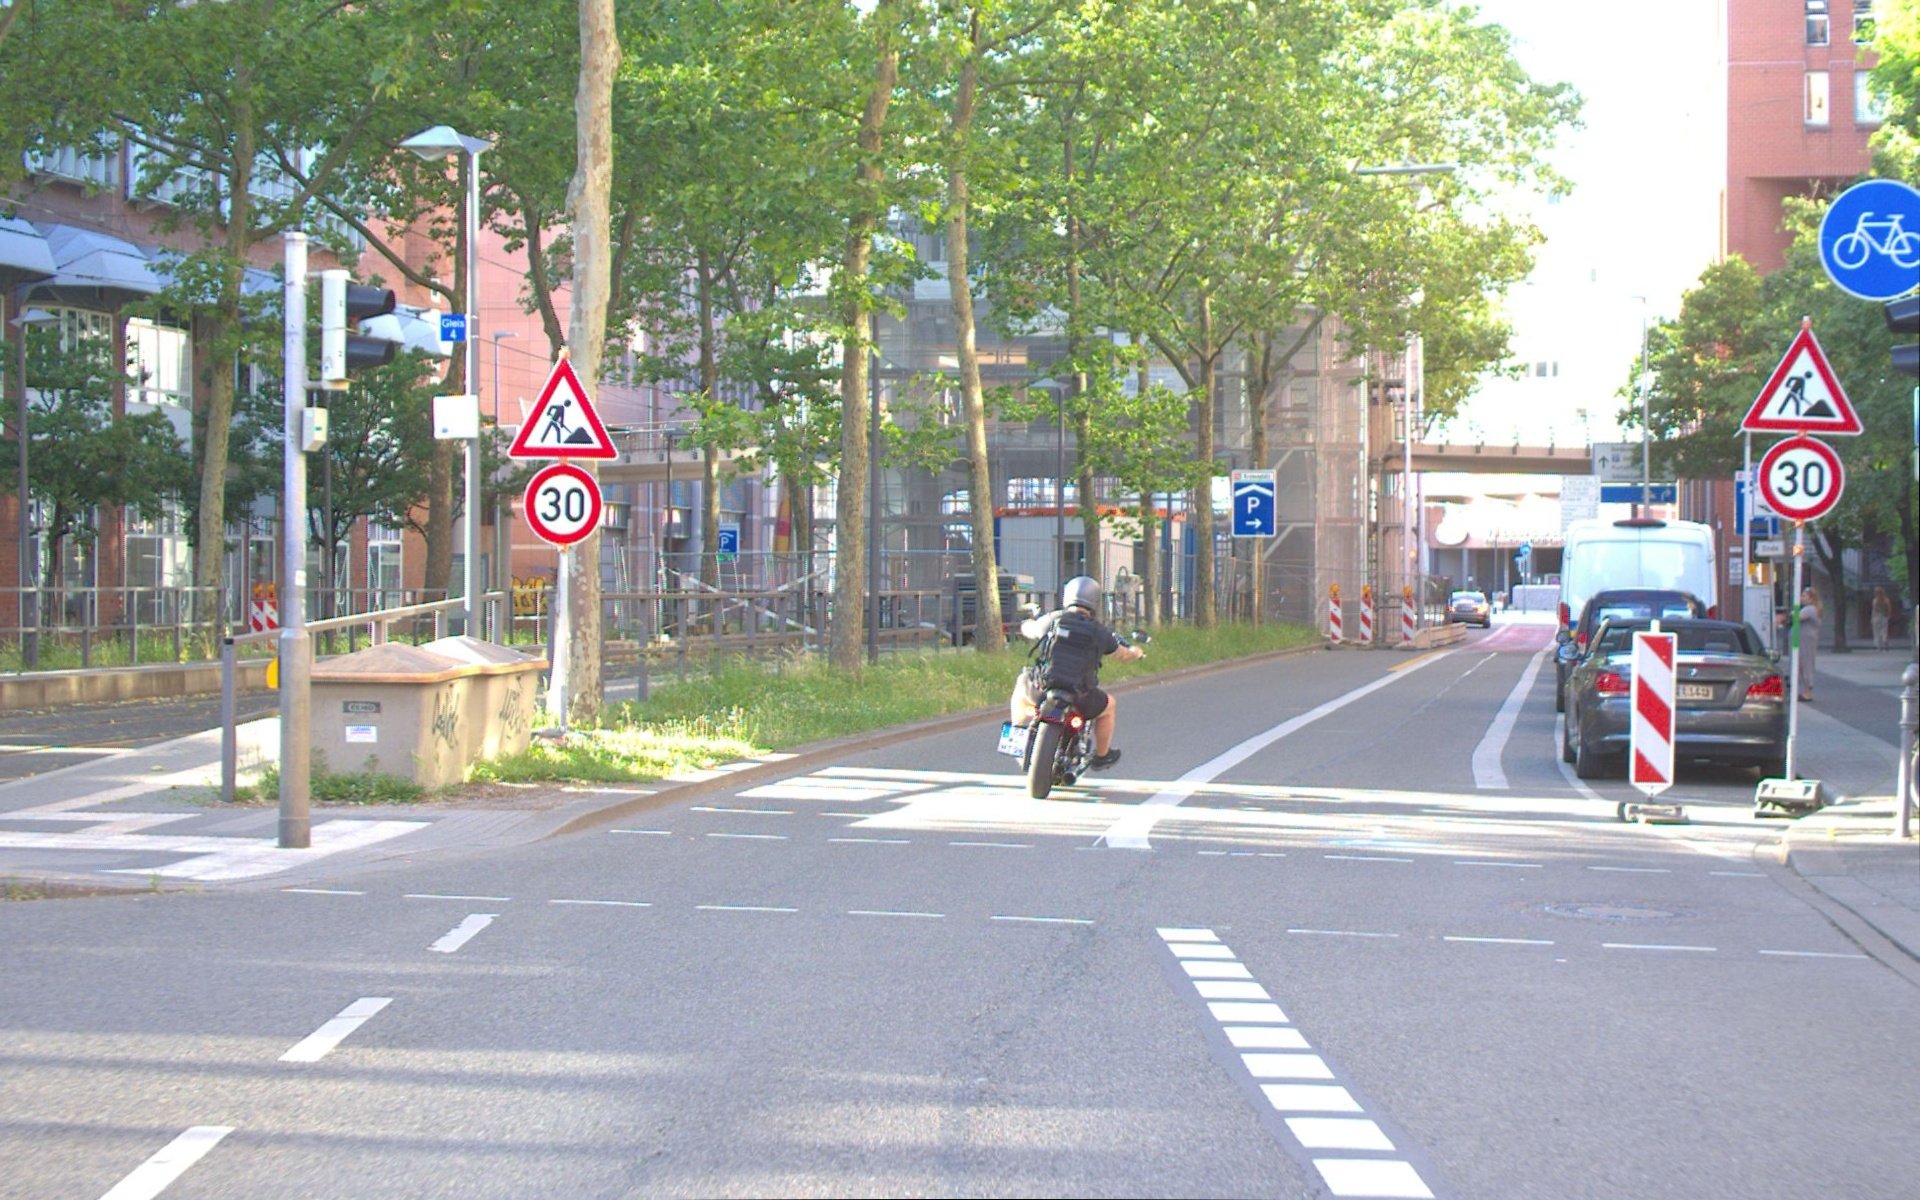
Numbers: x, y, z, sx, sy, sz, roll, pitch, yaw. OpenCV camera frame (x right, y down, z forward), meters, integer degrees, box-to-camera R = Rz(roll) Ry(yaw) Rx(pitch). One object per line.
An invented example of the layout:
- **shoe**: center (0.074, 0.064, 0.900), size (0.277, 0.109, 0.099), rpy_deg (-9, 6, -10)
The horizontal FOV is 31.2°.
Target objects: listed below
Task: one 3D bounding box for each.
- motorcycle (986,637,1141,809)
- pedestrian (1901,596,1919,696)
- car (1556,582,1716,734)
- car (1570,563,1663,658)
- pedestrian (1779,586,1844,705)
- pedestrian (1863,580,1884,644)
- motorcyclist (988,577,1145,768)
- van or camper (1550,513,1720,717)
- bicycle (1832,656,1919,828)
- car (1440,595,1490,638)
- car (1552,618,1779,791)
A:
- **motorcycle**: center (0.753, 0.843, 24.287), size (1.018, 1.093, 2.007), rpy_deg (1, 1, 4)
- **pedestrian**: center (14.068, 0.669, 49.820), size (0.766, 1.440, 0.779), rpy_deg (2, 0, 14)
- **car**: center (7.698, 0.616, 39.412), size (1.621, 1.614, 4.483), rpy_deg (1, 0, 9)
- **car**: center (14.318, 0.205, 75.140), size (1.836, 2.007, 4.386), rpy_deg (1, 0, 9)
- **pedestrian**: center (11.860, 0.628, 47.890), size (0.762, 1.639, 0.547), rpy_deg (0, 0, 2)
- **pedestrian**: center (23.233, 0.293, 87.404), size (0.449, 1.621, 0.375), rpy_deg (1, 0, 5)
- **motorcyclist**: center (0.753, 0.495, 24.014), size (1.012, 1.258, 0.774), rpy_deg (3, 1, 4)
- **van or camper**: center (8.950, 0.163, 45.960), size (2.049, 2.532, 5.770), rpy_deg (1, 0, 10)
- **bicycle**: center (6.373, 0.915, 22.290), size (0.737, 1.049, 1.752), rpy_deg (0, 1, -9)
- **car**: center (20.773, 0.676, 141.533), size (1.852, 1.711, 3.999), rpy_deg (0, 0, 6)
- **car**: center (5.966, 0.835, 29.435), size (1.621, 1.298, 4.310), rpy_deg (1, 0, 8)
